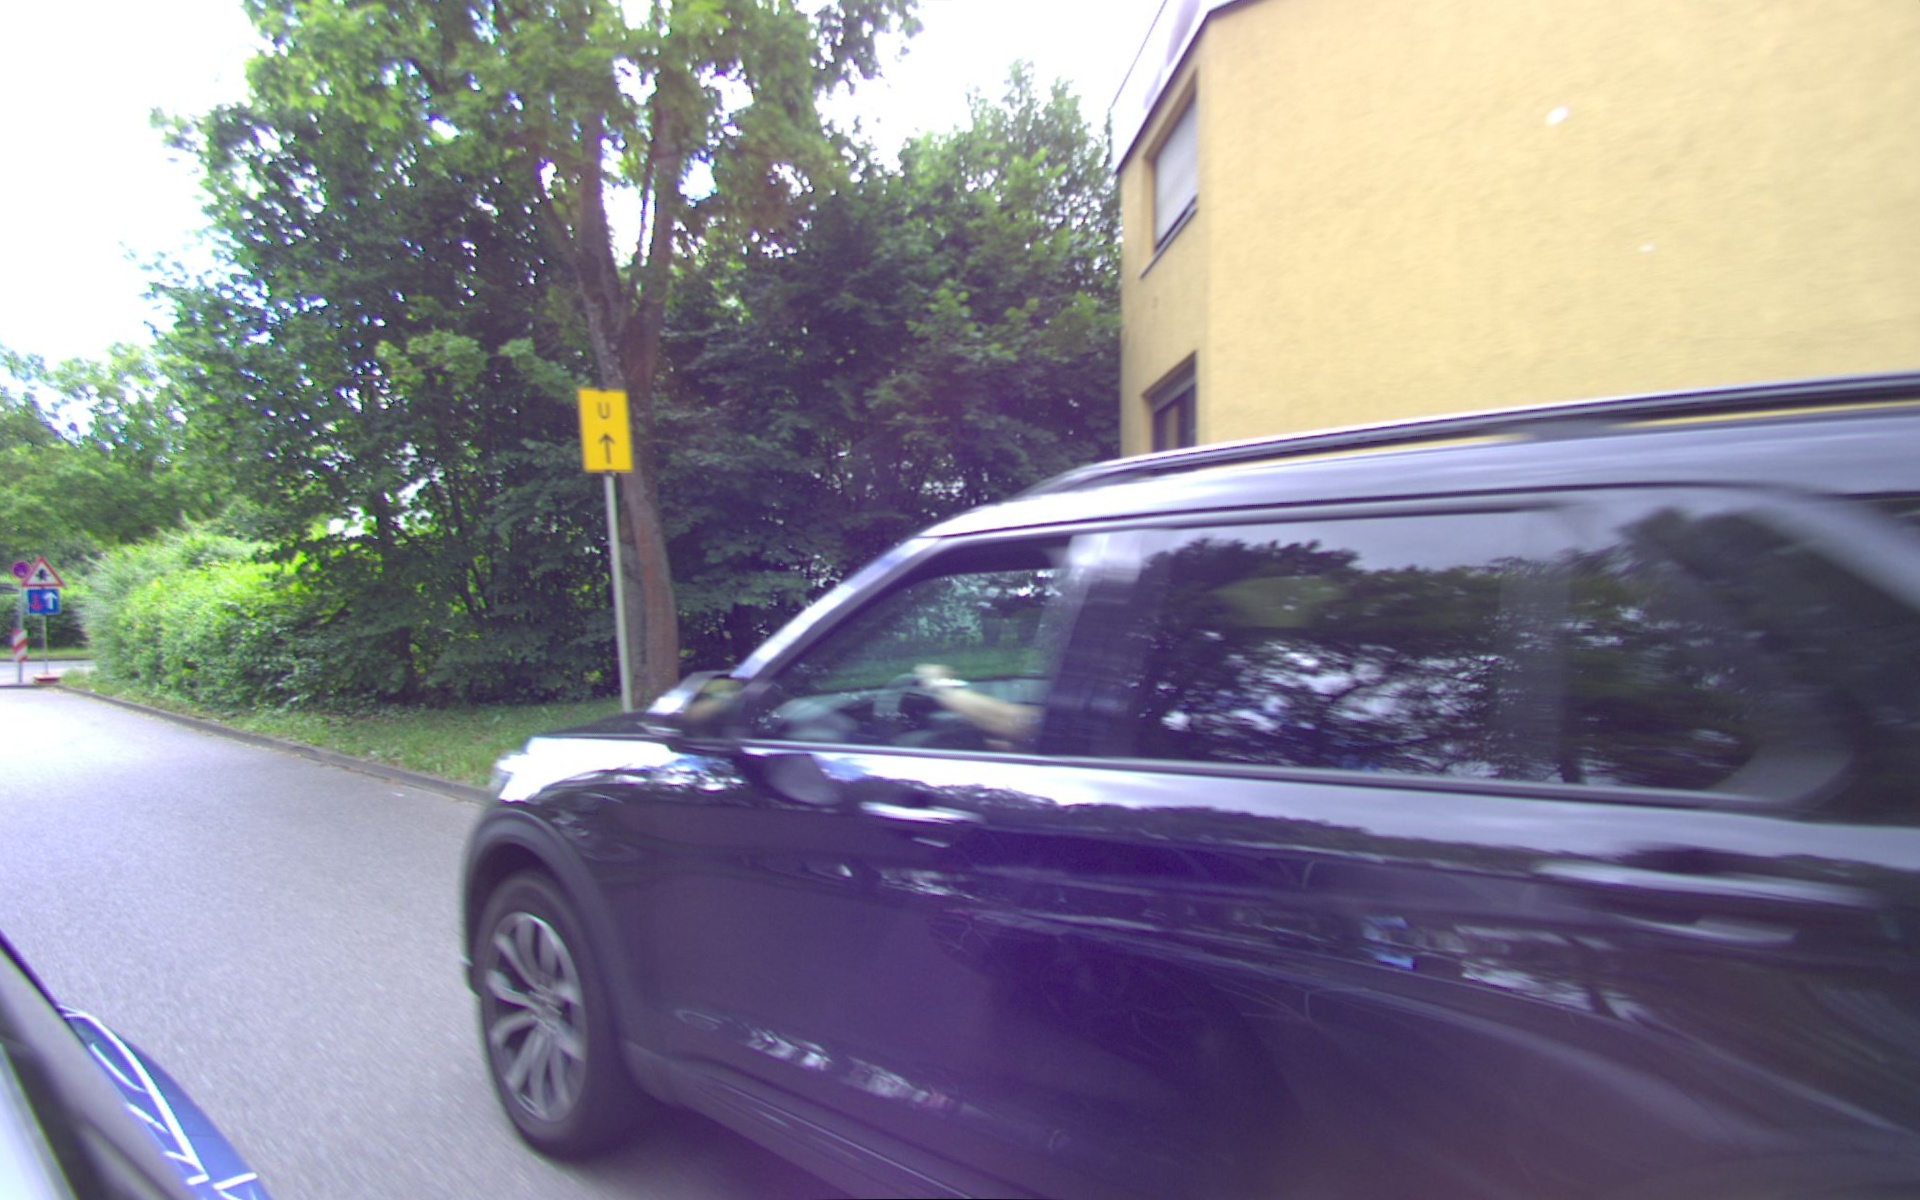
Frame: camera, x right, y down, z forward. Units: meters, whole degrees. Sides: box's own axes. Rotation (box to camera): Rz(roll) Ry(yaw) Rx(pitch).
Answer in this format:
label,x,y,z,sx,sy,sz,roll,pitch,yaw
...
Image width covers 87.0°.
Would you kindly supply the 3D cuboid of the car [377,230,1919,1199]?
label,x,y,z,sx,sy,sz,roll,pitch,yaw
car,0.639,0.571,2.316,5.056,1.730,1.893,-2,-2,41
